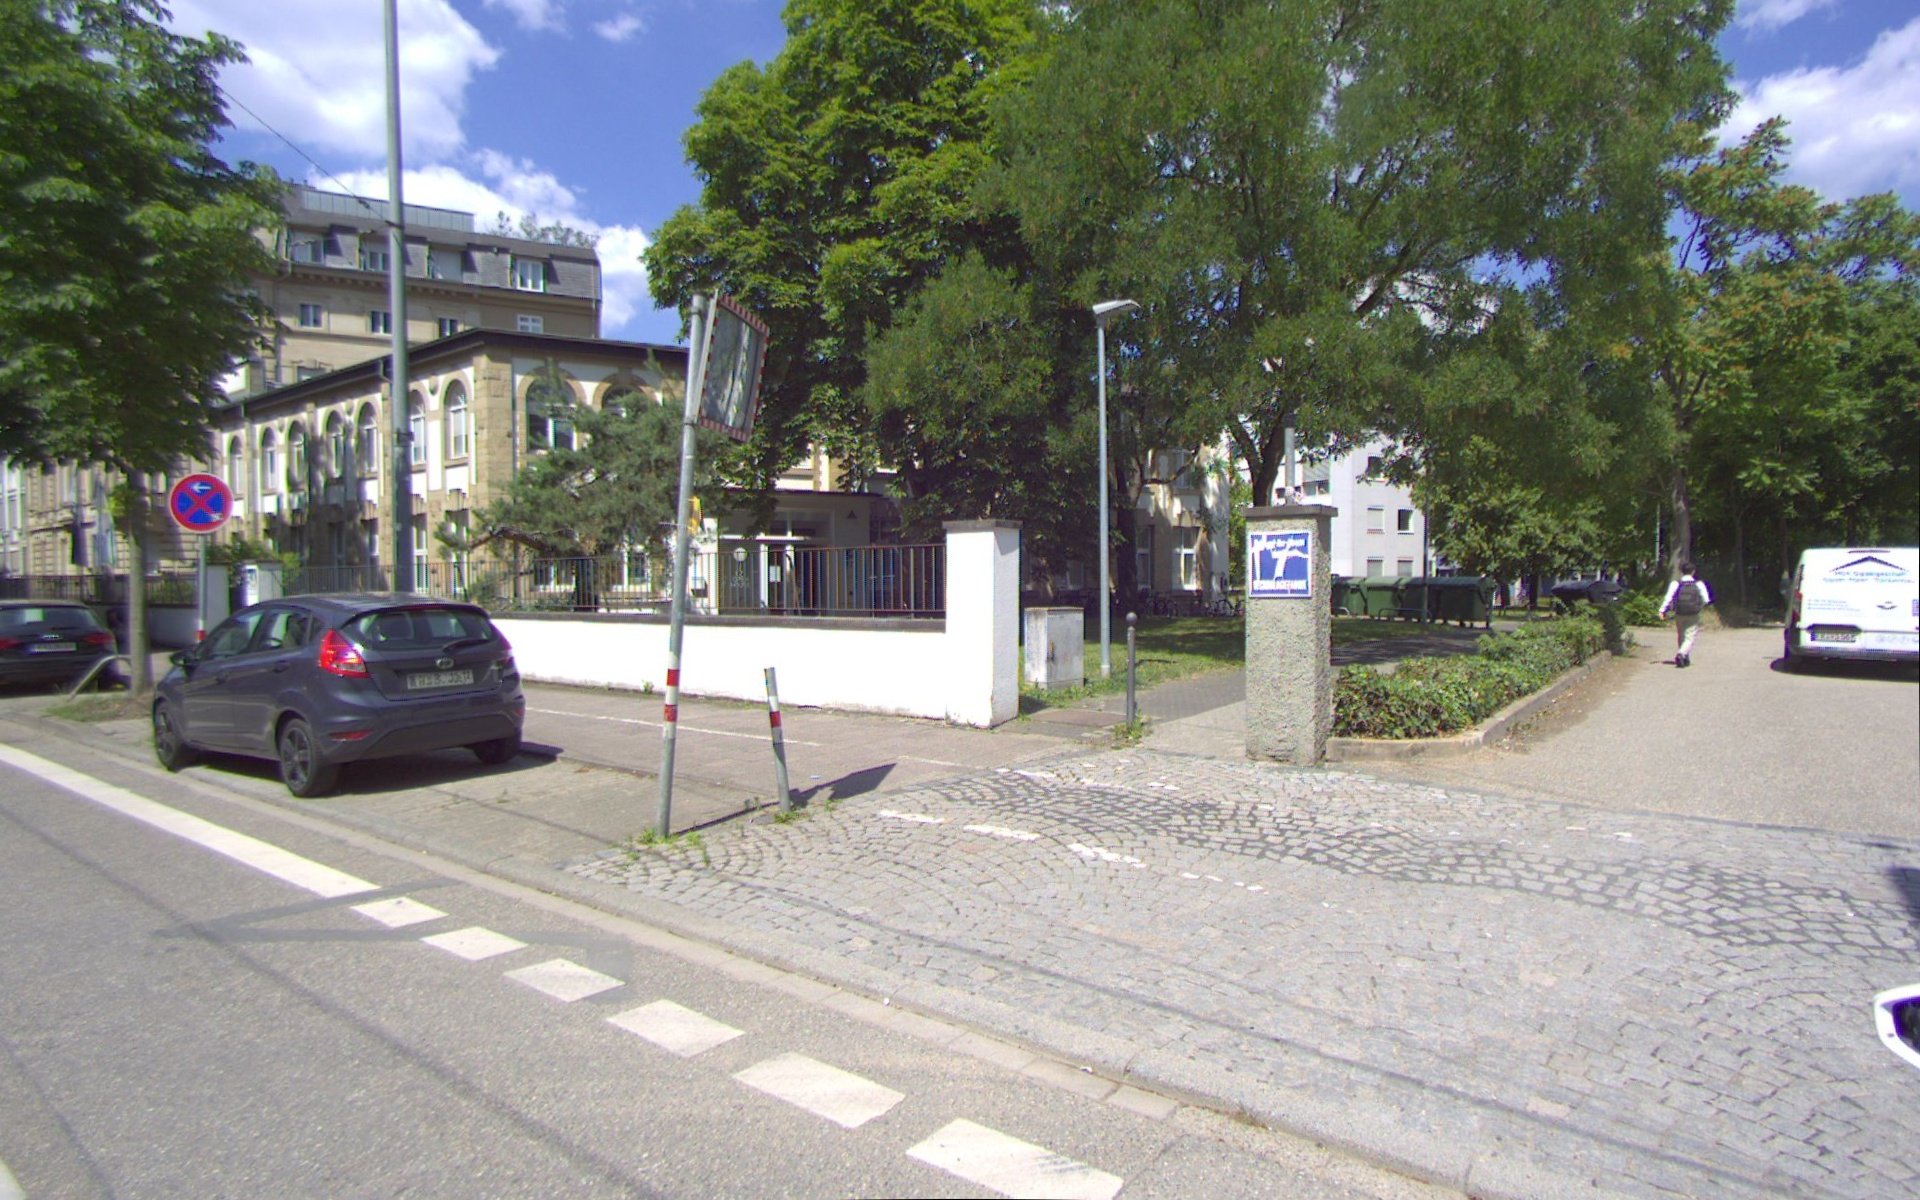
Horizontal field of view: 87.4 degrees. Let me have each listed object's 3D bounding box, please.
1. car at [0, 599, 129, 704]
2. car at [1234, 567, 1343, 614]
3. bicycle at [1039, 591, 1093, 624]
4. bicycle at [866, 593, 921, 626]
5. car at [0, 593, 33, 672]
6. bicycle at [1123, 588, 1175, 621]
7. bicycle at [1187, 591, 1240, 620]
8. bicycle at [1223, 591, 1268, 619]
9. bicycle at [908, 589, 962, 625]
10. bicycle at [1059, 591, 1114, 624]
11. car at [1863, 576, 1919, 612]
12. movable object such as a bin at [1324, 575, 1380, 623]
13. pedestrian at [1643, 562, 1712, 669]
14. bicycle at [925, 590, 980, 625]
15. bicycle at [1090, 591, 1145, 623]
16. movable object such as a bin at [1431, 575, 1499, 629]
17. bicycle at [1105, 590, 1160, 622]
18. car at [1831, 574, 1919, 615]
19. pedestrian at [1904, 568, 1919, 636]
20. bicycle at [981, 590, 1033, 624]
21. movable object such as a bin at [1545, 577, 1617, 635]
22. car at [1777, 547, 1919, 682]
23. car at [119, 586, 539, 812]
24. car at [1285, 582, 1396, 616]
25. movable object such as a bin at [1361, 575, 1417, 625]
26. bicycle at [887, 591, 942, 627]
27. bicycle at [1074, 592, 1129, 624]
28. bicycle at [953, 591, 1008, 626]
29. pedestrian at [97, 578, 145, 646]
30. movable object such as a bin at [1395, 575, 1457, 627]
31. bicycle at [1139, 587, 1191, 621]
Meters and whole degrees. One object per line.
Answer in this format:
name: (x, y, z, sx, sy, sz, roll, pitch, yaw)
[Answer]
car: (-14.964, 0.735, 16.004, 4.087, 1.438, 1.876, 1, 2, 39)
car: (14.973, -0.451, 45.749, 4.711, 2.041, 1.987, 0, 1, -26)
bicycle: (3.470, 0.231, 33.000, 0.600, 1.025, 2.242, -1, 2, -29)
bicycle: (-2.002, 0.274, 30.023, 0.648, 0.902, 2.239, -1, 2, -33)
car: (-20.023, 0.630, 19.867, 3.715, 1.463, 1.943, 1, 2, 39)
bicycle: (6.499, 0.134, 34.659, 0.599, 1.096, 2.246, -1, 2, -23)
bicycle: (9.006, 0.194, 35.786, 0.599, 0.971, 2.246, -1, 1, -23)
bicycle: (10.210, 0.164, 35.999, 0.605, 0.971, 1.720, -1, 2, -23)
bicycle: (-0.786, 0.192, 30.861, 0.564, 1.025, 2.239, -1, 2, -33)
bicycle: (4.168, 0.246, 33.288, 0.600, 1.025, 2.242, -1, 2, -29)
car: (42.049, -0.254, 43.197, 1.702, 1.552, 4.490, -1, 1, -26)
movable object such as a bin: (12.692, -0.044, 32.555, 1.033, 1.499, 1.401, -1, 1, -25)
pedestrian: (12.207, 0.232, 17.083, 0.863, 1.753, 1.075, 1, 2, 40)
bicycle: (-0.250, 0.204, 31.232, 0.601, 1.025, 2.239, -1, 2, -33)
bicycle: (5.304, 0.224, 33.929, 0.600, 1.025, 2.242, -1, 2, -29)
movable object such as a bin: (14.427, 0.040, 28.717, 1.193, 1.499, 1.315, -1, 2, -28)
bicycle: (5.862, 0.180, 34.260, 0.600, 1.025, 2.242, -1, 2, -29)
car: (39.789, -0.220, 42.127, 1.973, 1.631, 4.492, 2, 0, -25)
pedestrian: (23.919, 0.044, 24.393, 1.031, 1.672, 1.036, -1, 2, -13)
bicycle: (1.489, 0.197, 32.118, 0.600, 1.025, 2.242, -1, 2, -29)
movable object such as a bin: (15.653, 0.136, 25.358, 1.094, 1.413, 1.160, 0, 1, -2)
car: (14.978, 0.175, 16.816, 1.949, 1.973, 4.560, 1, 1, 39)
car: (-5.421, 0.673, 8.525, 3.663, 1.476, 1.584, 0, 3, 33)
car: (16.222, -0.087, 42.787, 4.564, 1.370, 1.821, -1, 1, -26)
movable object such as a bin: (13.312, -0.015, 31.208, 1.033, 1.499, 1.254, -1, 1, -25)
bicycle: (-1.403, 0.242, 30.598, 0.626, 1.025, 2.239, -1, 2, -33)
bicycle: (4.713, 0.246, 33.631, 0.600, 1.025, 2.242, -1, 2, -29)
bicycle: (0.628, 0.252, 31.588, 0.601, 1.025, 2.239, -1, 2, -33)
pedestrian: (-20.011, 0.269, 23.962, 0.732, 1.588, 0.695, 0, 2, 35)
movable object such as a bin: (13.873, 0.013, 29.924, 1.086, 1.499, 1.346, -1, 2, -36)
bicycle: (7.087, 0.123, 34.897, 0.599, 1.096, 2.246, -1, 2, -23)
